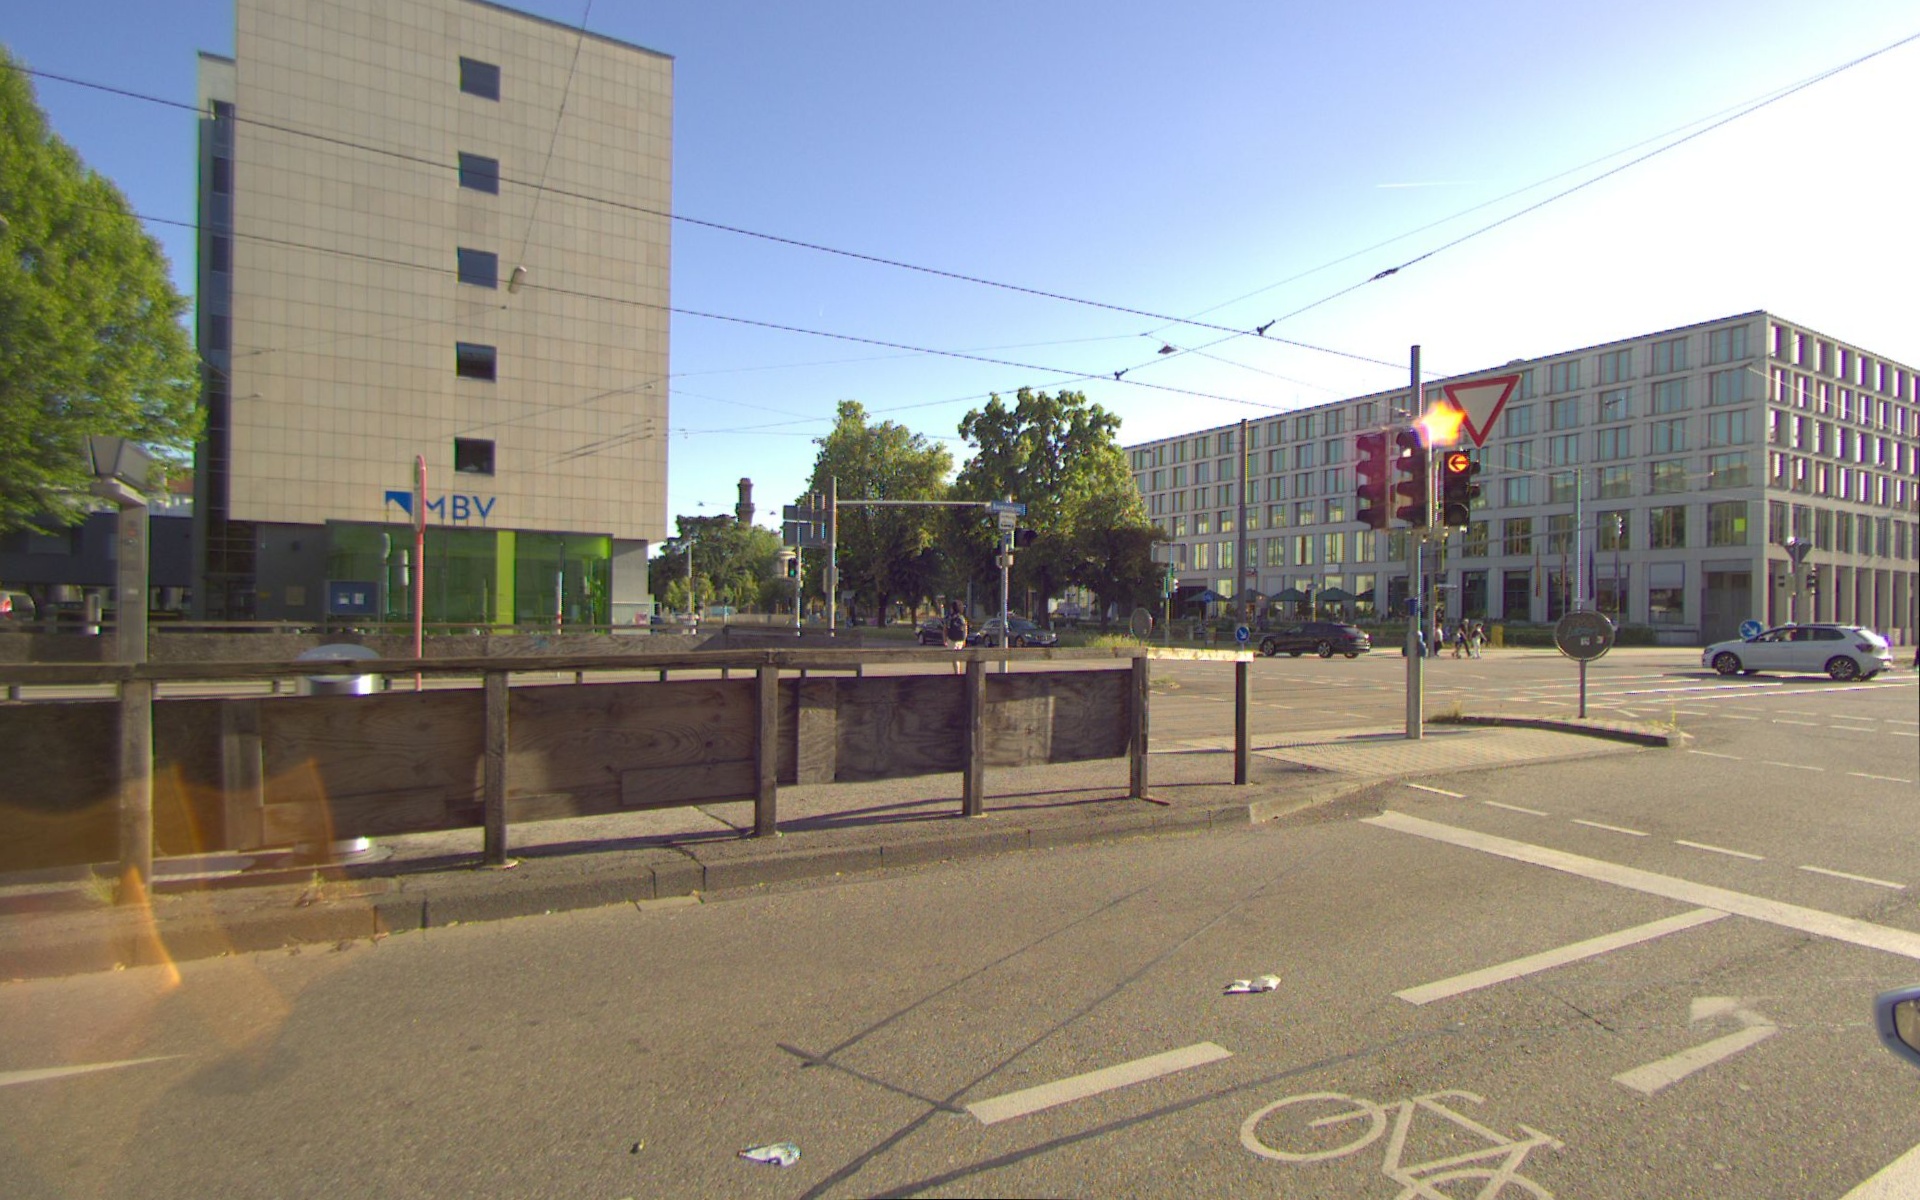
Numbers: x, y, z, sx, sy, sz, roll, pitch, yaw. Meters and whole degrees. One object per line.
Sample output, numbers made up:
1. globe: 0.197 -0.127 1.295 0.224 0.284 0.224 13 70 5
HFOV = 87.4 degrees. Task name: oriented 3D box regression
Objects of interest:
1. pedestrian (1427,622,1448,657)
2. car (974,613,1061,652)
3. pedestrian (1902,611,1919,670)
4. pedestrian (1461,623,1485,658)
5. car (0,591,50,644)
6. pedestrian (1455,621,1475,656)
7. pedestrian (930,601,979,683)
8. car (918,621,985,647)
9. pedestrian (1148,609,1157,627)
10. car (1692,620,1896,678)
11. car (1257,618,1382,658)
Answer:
1. pedestrian: 23.508 1.941 49.417 0.612 1.666 0.692 1 -1 -23
2. car: 2.679 1.521 47.745 1.833 1.602 4.488 1 1 -33
3. pedestrian: 32.308 1.362 33.744 0.628 1.943 0.800 1 -1 -24
4. pedestrian: 24.561 1.920 48.092 0.615 1.666 0.787 1 -1 -34
5. car: -27.722 0.452 27.801 3.371 1.431 1.562 2 0 -20
6. pedestrian: 24.684 1.879 49.094 0.615 1.666 0.690 1 -1 -34
7. pedestrian: -0.122 0.900 21.765 0.816 1.739 0.756 1 -1 -25
8. car: -0.510 1.773 53.511 1.755 1.311 4.209 1 -1 -30
9. pedestrian: 17.857 1.668 93.247 0.556 1.691 0.537 2 0 -33
10. car: 22.800 1.305 27.608 1.614 1.452 4.019 3 -2 -33
11. car: 14.951 1.566 41.999 1.978 1.433 4.711 4 -2 -31
